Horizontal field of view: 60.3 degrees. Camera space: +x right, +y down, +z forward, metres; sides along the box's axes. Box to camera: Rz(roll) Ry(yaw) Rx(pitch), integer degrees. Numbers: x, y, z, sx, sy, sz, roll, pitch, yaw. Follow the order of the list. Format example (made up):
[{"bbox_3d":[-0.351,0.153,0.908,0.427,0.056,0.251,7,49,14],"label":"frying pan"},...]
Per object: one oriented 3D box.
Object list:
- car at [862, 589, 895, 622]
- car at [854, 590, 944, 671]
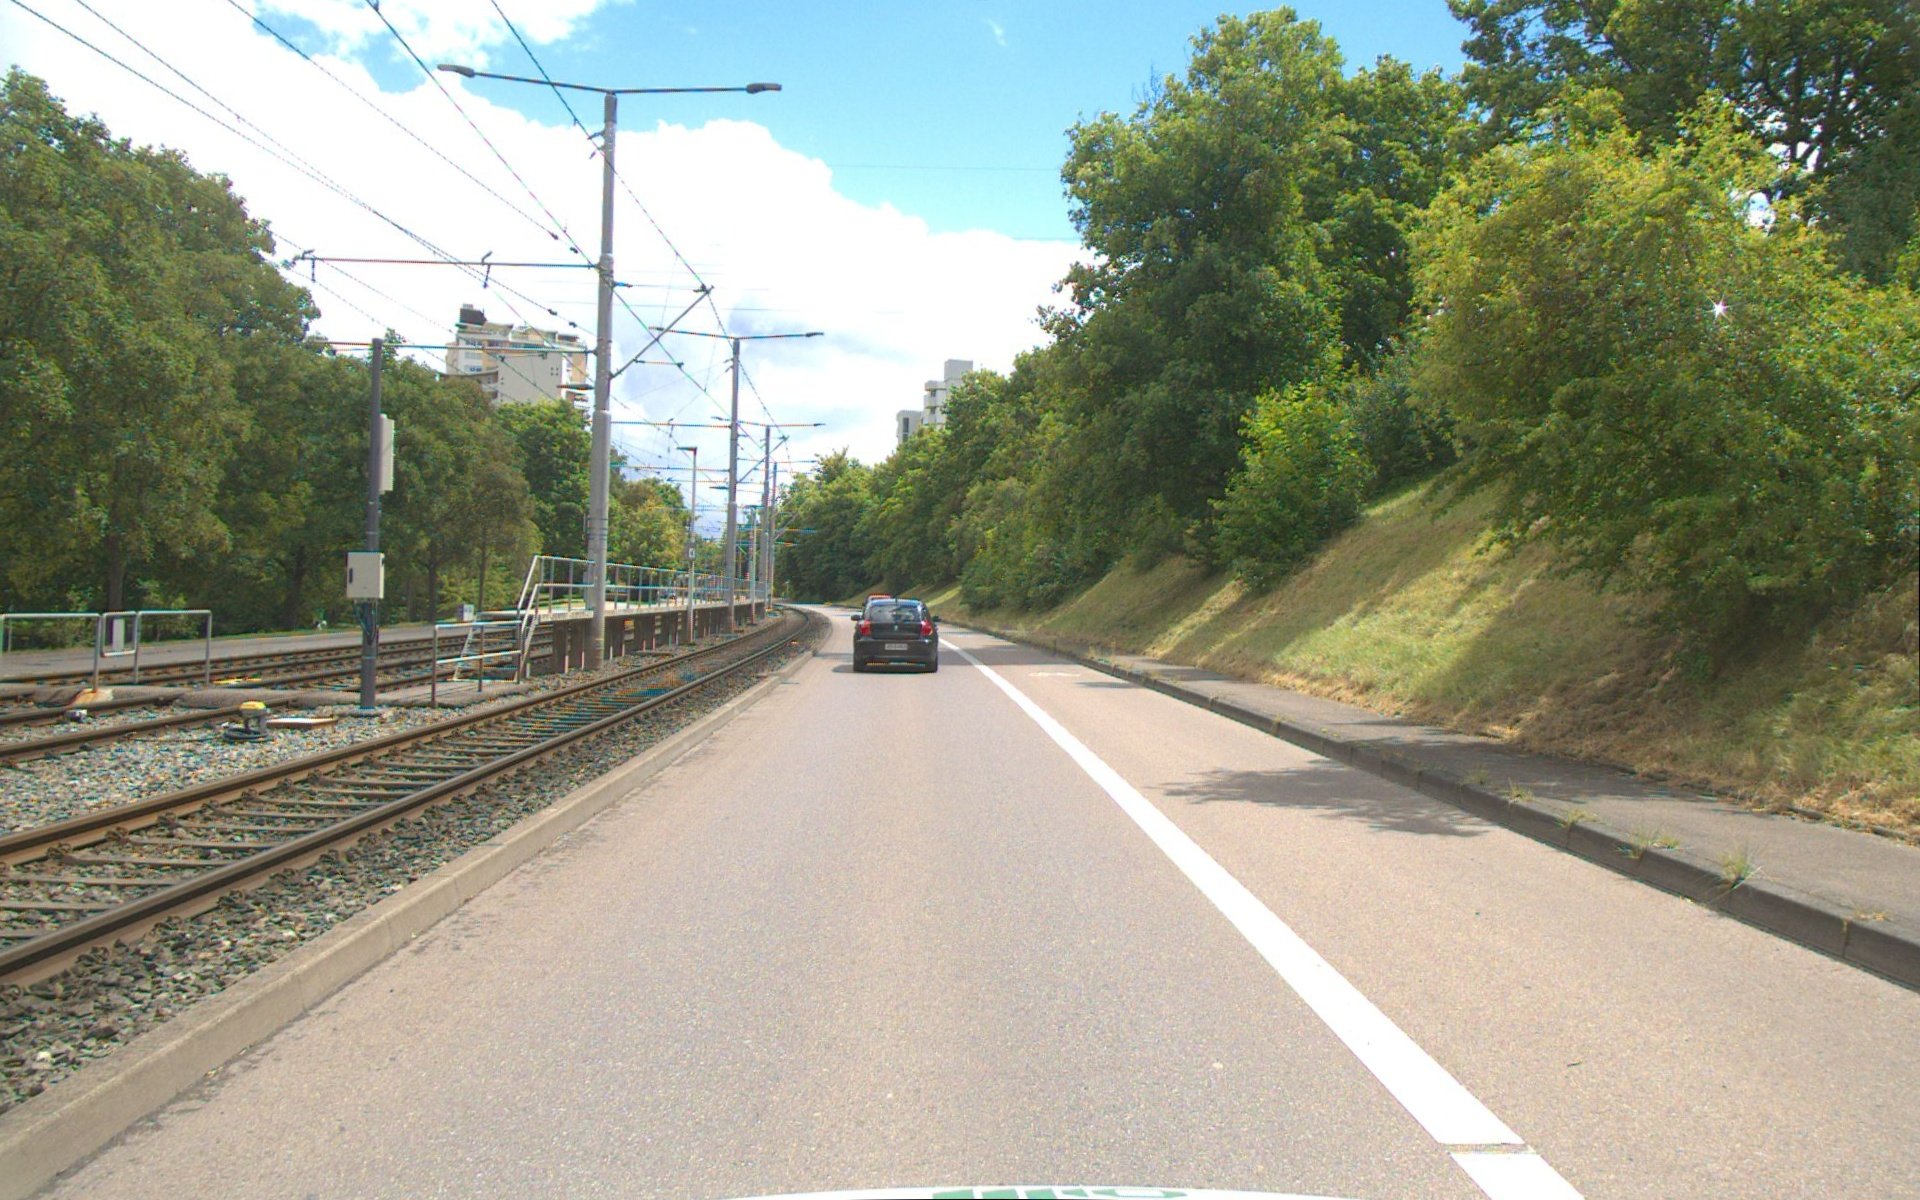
[{"bbox_3d":[-4.210,0.252,85.480,1.591,1.468,3.421,2,3,-2],"label":"car"},{"bbox_3d":[-1.237,0.608,33.974,1.674,1.486,3.959,3,0,-2],"label":"car"}]
